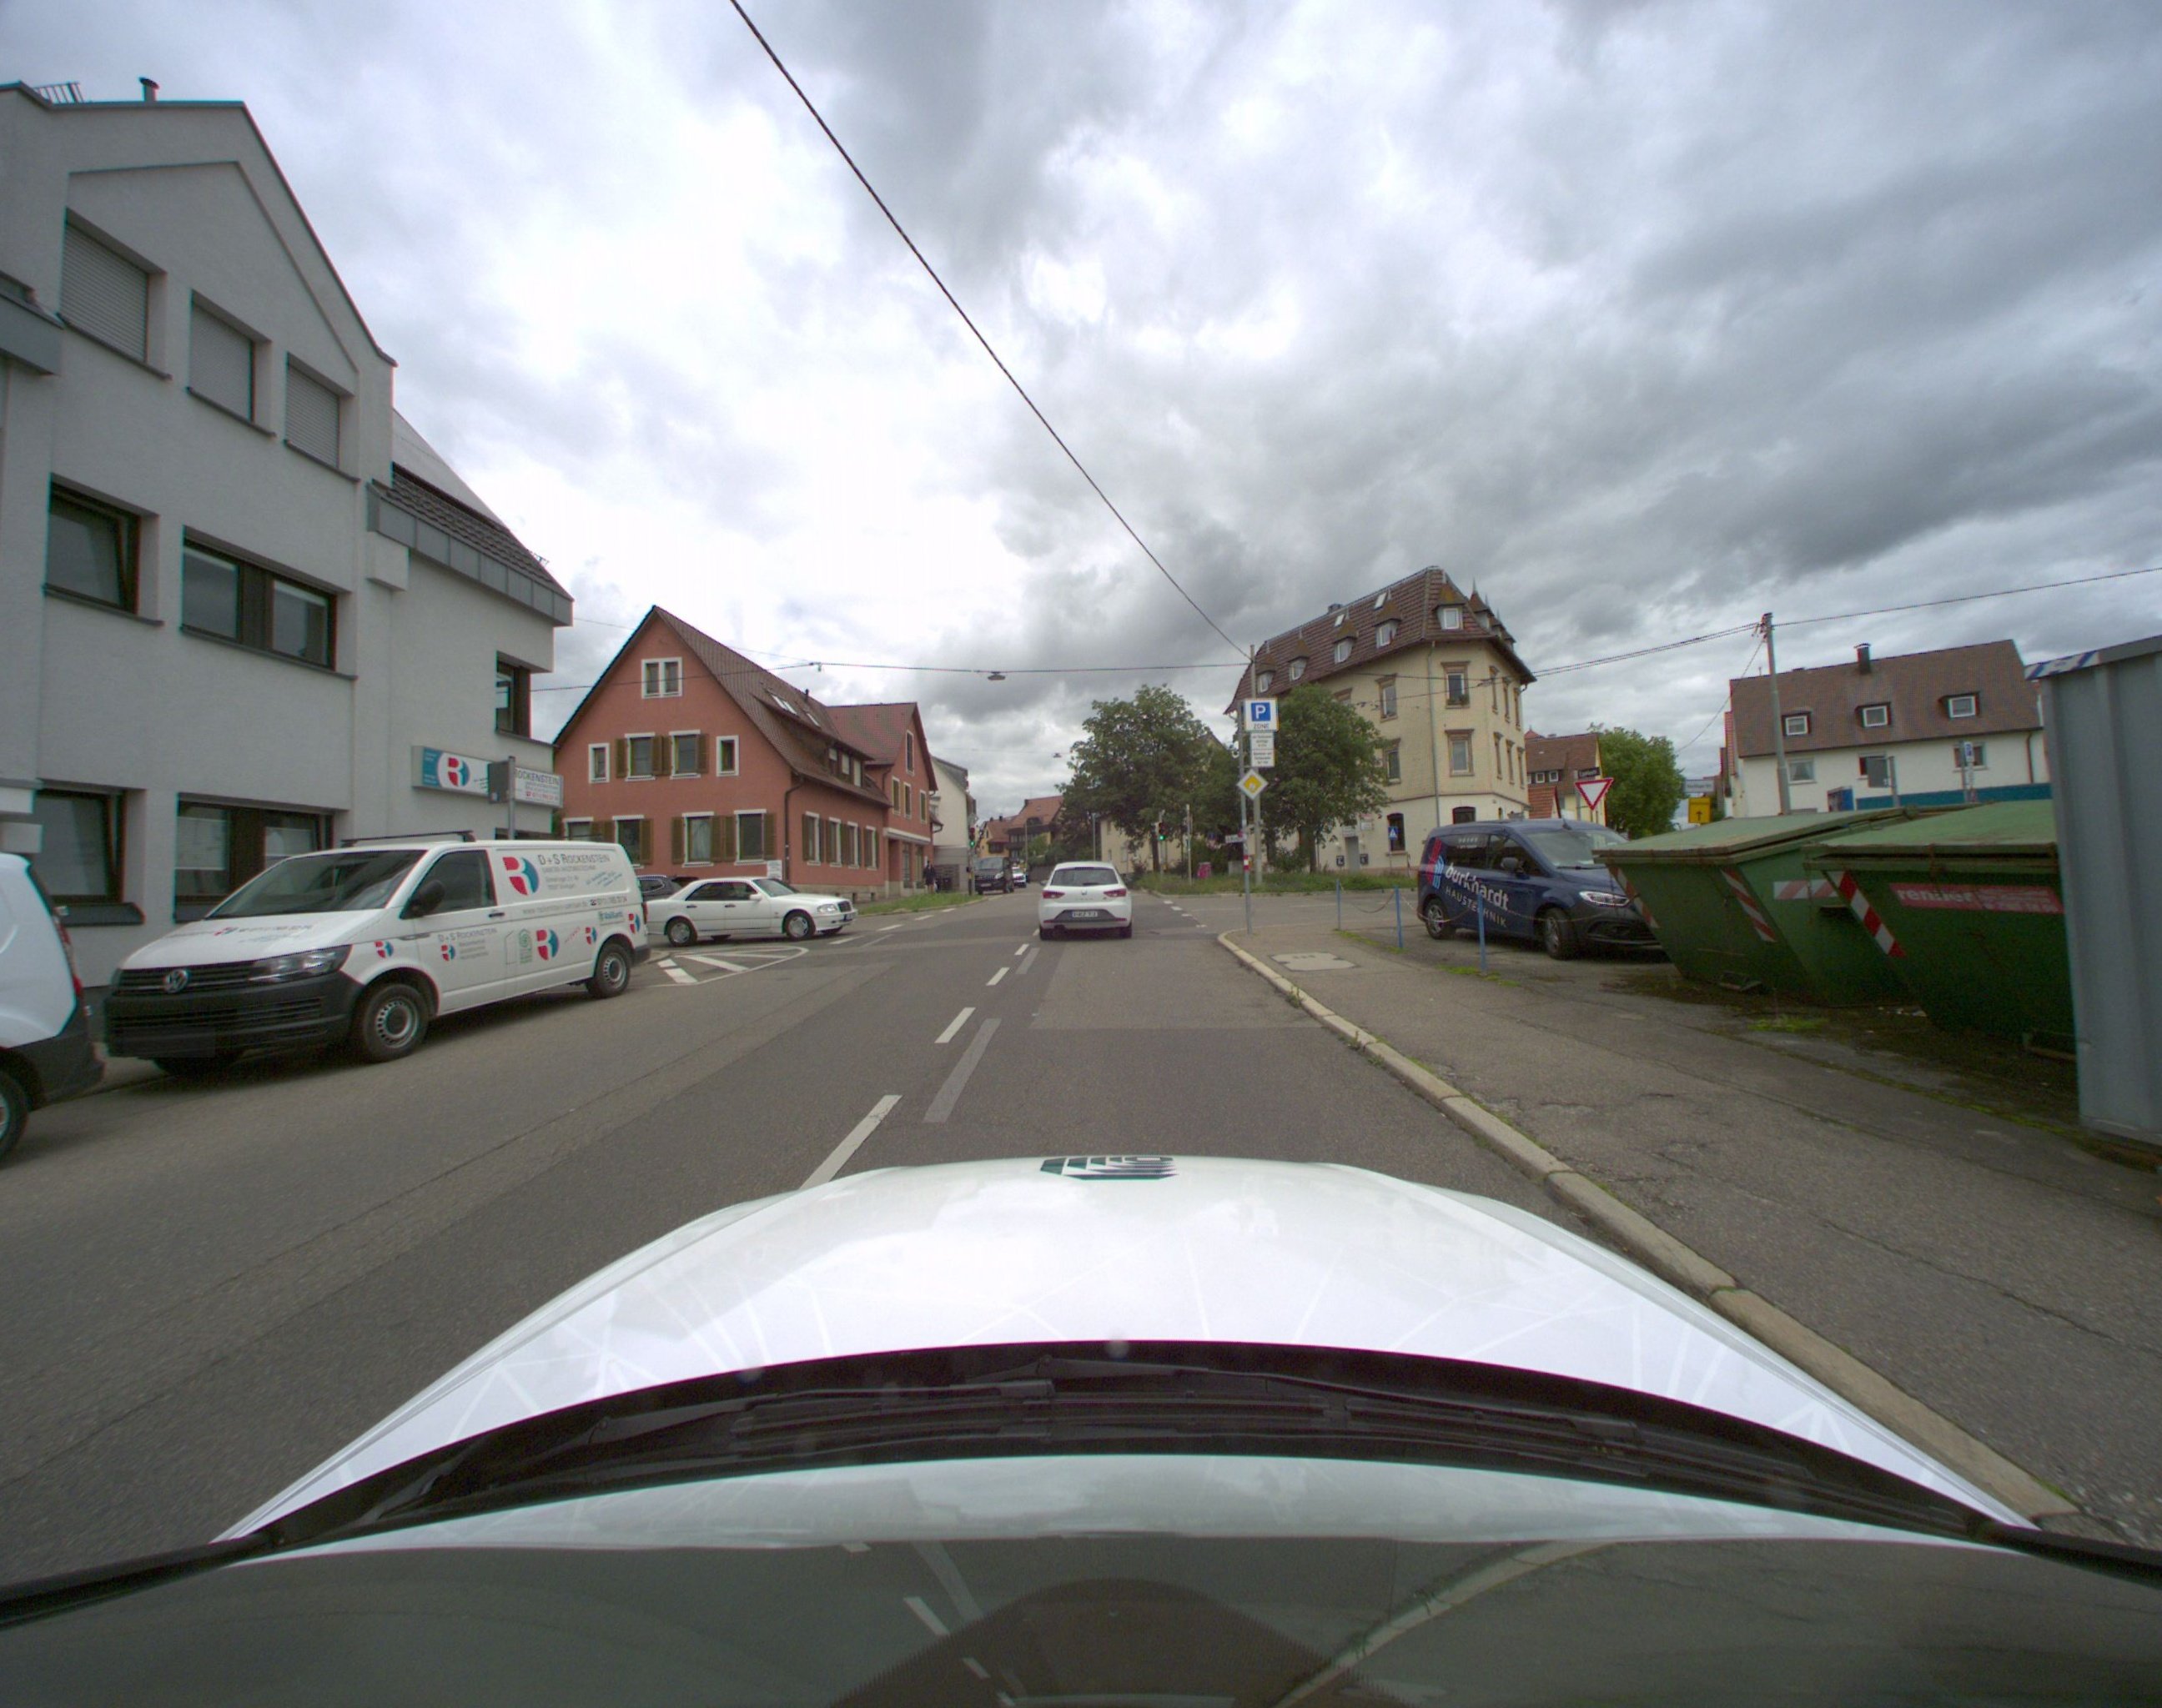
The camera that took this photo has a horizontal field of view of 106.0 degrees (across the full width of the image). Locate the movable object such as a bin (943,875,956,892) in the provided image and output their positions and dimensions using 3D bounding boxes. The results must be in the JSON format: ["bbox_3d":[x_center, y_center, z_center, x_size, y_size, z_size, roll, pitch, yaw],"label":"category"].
[{"bbox_3d":[-8.277,1.857,51.403,0.664,1.018,0.794,-2,-1,-3],"label":"movable object such as a bin"}]

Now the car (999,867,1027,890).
[{"bbox_3d":[-5.216,1.877,62.289,1.996,1.633,4.846,-1,-2,-7],"label":"car"}]

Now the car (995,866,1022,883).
[{"bbox_3d":[-6.277,1.768,70.170,1.997,1.436,3.906,-1,-2,-9],"label":"car"}]

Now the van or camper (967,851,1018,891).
[{"bbox_3d":[-4.617,0.939,42.973,2.066,2.006,4.857,0,-3,1],"label":"van or camper"}]

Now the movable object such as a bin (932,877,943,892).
[{"bbox_3d":[-9.021,1.915,51.224,0.531,0.971,0.635,0,-1,1],"label":"movable object such as a bin"}]

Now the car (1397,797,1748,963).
[{"bbox_3d":[6.374,0.288,11.334,1.744,1.739,4.563,-3,0,-6],"label":"car"}]

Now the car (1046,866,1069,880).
[{"bbox_3d":[-2.541,2.094,88.011,1.761,1.452,3.981,1,-2,-14],"label":"car"}]

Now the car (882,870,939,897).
[{"bbox_3d":[-9.865,1.699,47.288,2.817,1.475,1.744,-2,-2,3],"label":"car"}]

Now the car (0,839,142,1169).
[{"bbox_3d":[-6.916,0.879,3.031,1.727,1.832,4.298,-4,0,1],"label":"car"}]

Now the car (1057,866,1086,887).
[{"bbox_3d":[-0.729,1.703,60.474,1.757,1.452,3.990,-1,-2,-7],"label":"car"}]

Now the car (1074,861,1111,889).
[{"bbox_3d":[0.607,1.184,45.130,1.755,1.452,3.994,-1,-2,-4],"label":"car"}]

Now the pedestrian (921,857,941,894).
[{"bbox_3d":[-7.353,1.044,39.971,0.798,1.785,0.893,-1,-1,0],"label":"pedestrian"}]

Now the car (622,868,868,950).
[{"bbox_3d":[-7.336,1.175,18.077,4.533,1.445,2.002,-3,-1,4],"label":"car"}]

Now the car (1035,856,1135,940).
[{"bbox_3d":[0.178,0.792,16.517,1.751,1.452,4.003,-1,0,3],"label":"car"}]

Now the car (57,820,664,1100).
[{"bbox_3d":[-6.656,0.797,8.504,1.804,2.005,4.767,-4,0,3],"label":"car"}]
